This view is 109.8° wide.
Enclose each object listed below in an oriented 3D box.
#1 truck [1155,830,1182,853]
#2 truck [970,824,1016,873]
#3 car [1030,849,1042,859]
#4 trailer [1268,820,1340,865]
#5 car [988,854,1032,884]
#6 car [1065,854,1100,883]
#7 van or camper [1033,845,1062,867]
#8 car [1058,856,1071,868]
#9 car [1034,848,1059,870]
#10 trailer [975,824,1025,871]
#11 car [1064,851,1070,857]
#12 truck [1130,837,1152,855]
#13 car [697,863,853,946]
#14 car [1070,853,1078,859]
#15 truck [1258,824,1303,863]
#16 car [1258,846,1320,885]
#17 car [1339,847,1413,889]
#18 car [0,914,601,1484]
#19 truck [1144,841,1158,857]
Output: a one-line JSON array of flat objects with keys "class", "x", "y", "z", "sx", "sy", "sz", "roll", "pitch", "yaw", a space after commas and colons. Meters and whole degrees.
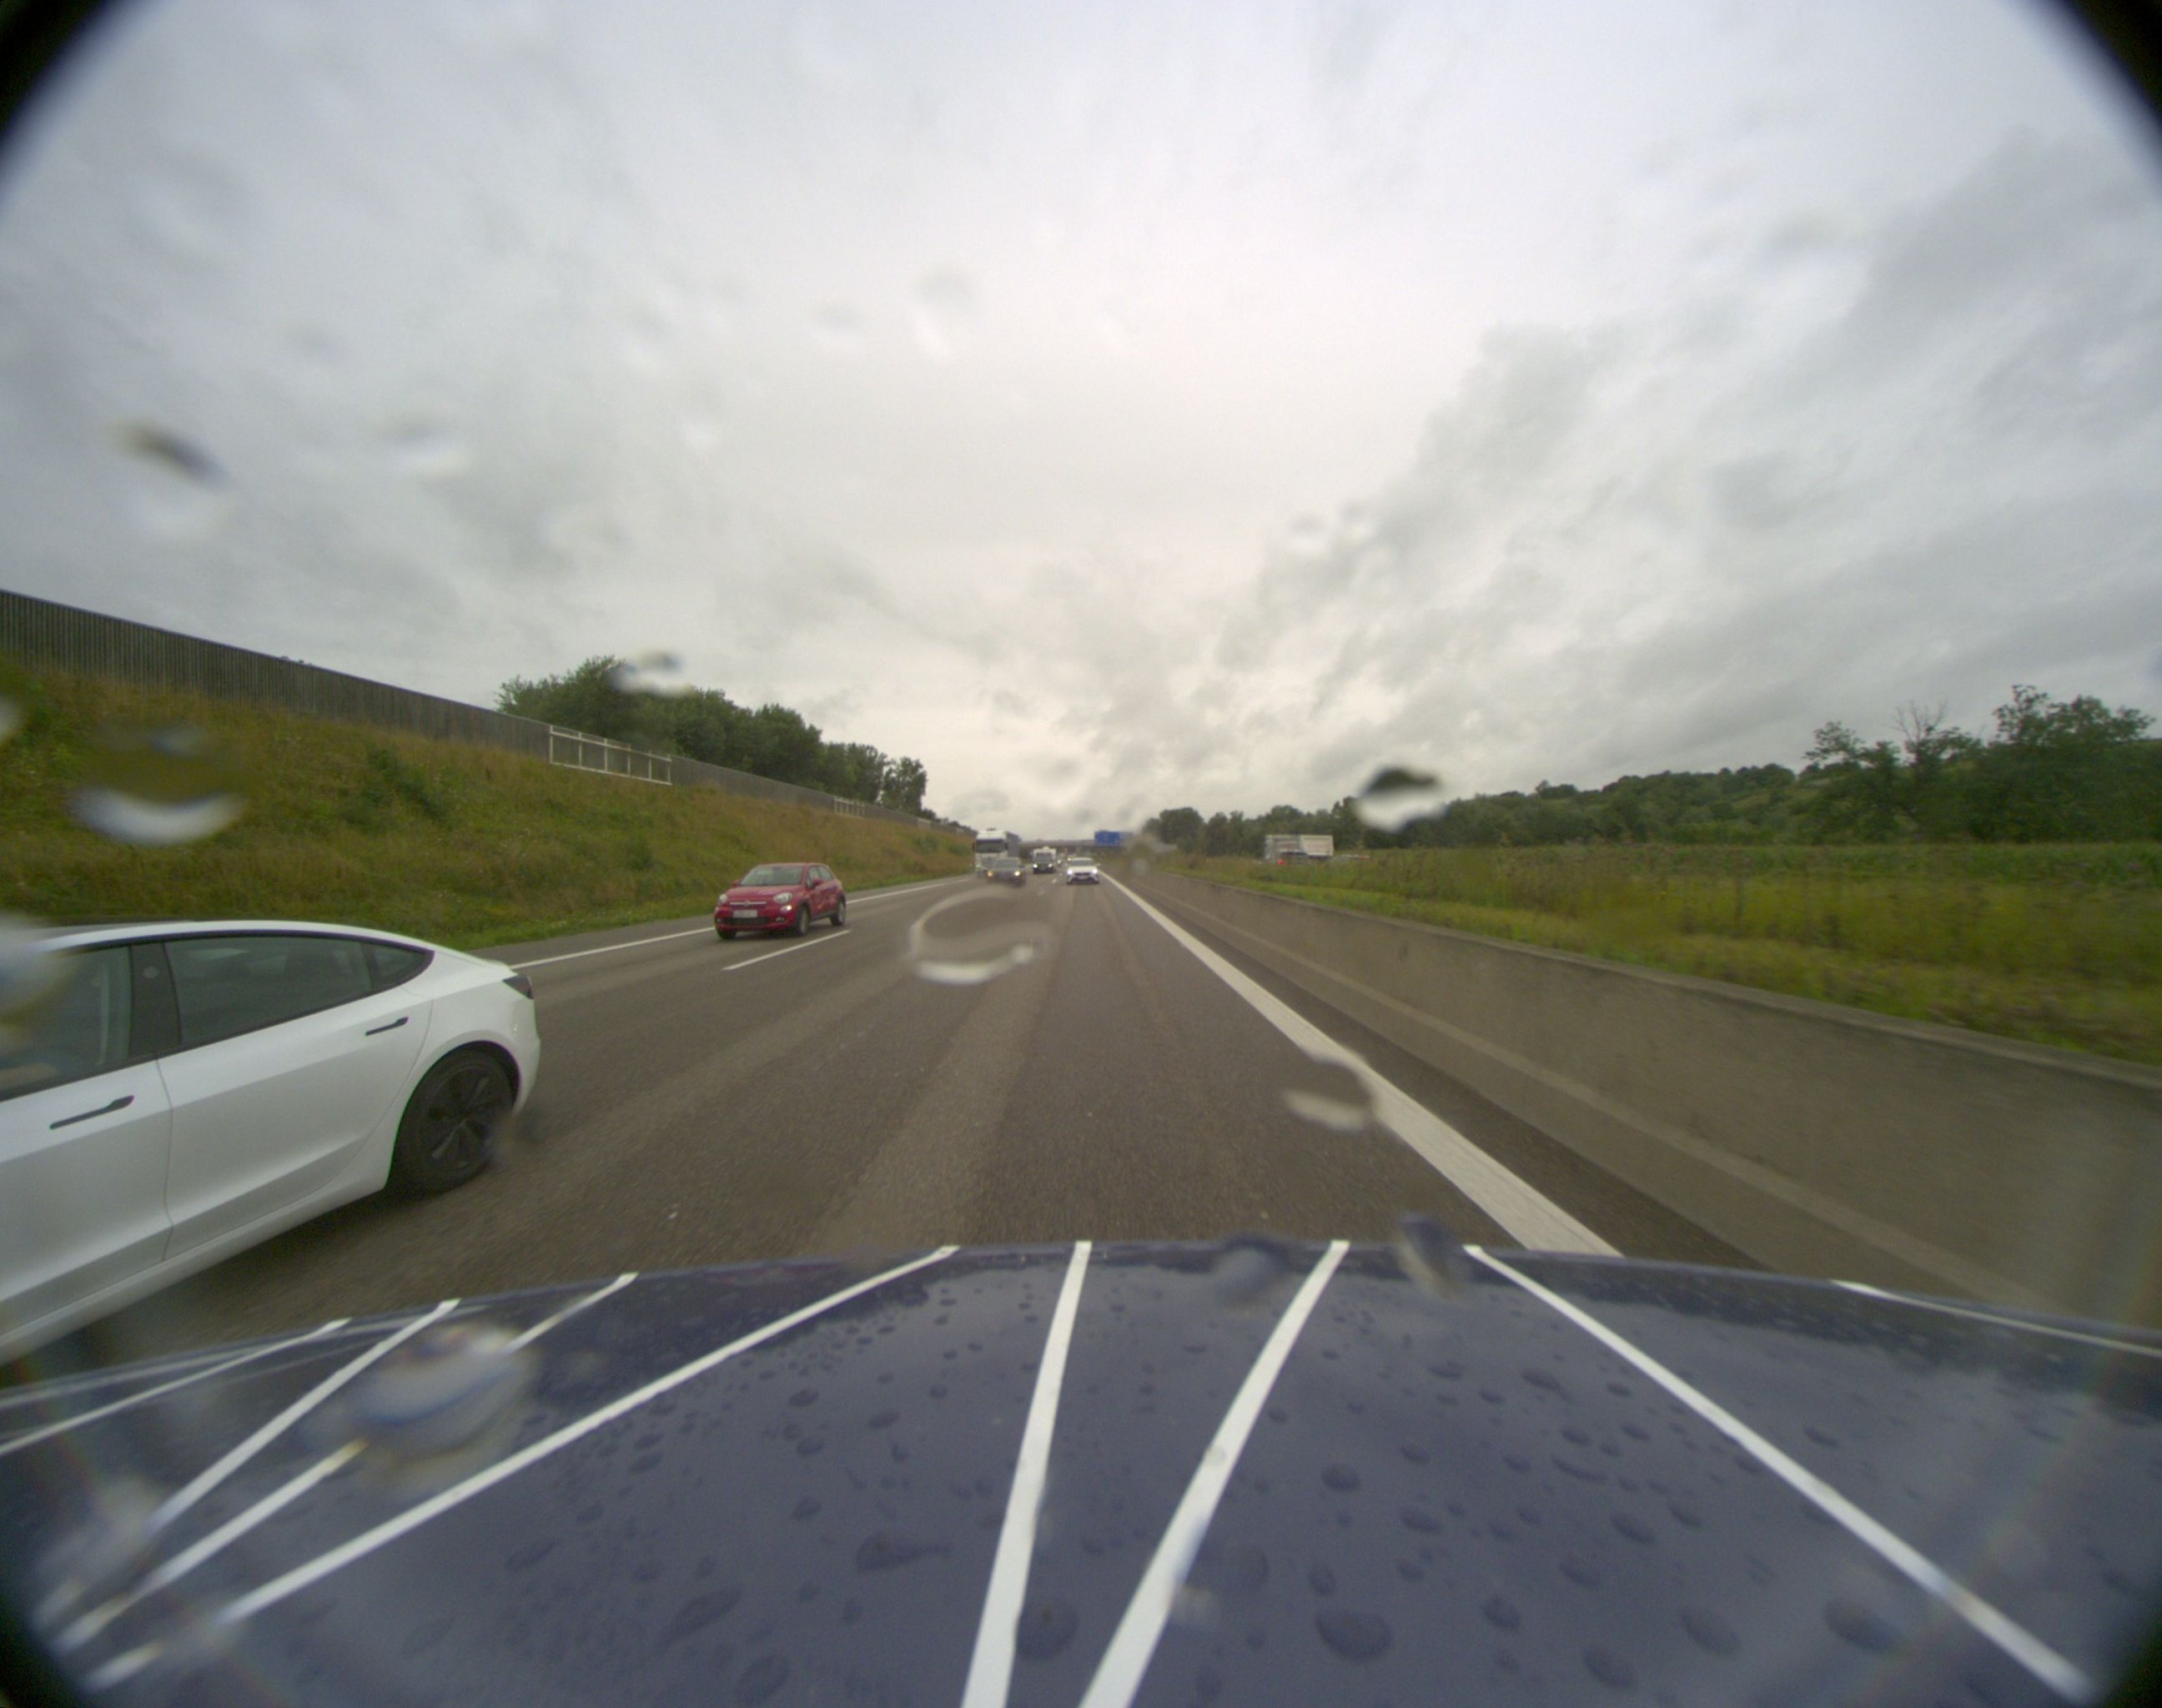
[{"class": "truck", "x": 17.644, "y": -2.548, "z": 153.846, "sx": 3.333, "sy": 4.317, "sz": 16.898, "roll": -2, "pitch": 1, "yaw": 0}, {"class": "truck", "x": -7.623, "y": -0.518, "z": 66.815, "sx": 3.089, "sy": 4.003, "sz": 6.955, "roll": -2, "pitch": 1, "yaw": 0}, {"class": "car", "x": -9.274, "y": 0.082, "z": 156.905, "sx": 1.998, "sy": 2.002, "sz": 4.262, "roll": -1, "pitch": 0, "yaw": 0}, {"class": "trailer", "x": 17.926, "y": -0.898, "z": 61.853, "sx": 2.794, "sy": 3.309, "sz": 9.925, "roll": -2, "pitch": 1, "yaw": 0}, {"class": "car", "x": -3.926, "y": 0.800, "z": 42.463, "sx": 1.929, "sy": 1.480, "sz": 4.485, "roll": -2, "pitch": 1, "yaw": 1}, {"class": "car", "x": 0.127, "y": 0.795, "z": 43.578, "sx": 1.840, "sy": 1.455, "sz": 4.000, "roll": -2, "pitch": 1, "yaw": 1}, {"class": "van or camper", "x": -3.464, "y": 0.137, "z": 79.748, "sx": 2.432, "sy": 2.139, "sz": 6.498, "roll": -2, "pitch": 1, "yaw": 2}, {"class": "car", "x": -2.630, "y": 1.240, "z": 120.695, "sx": 1.998, "sy": 1.759, "sz": 4.000, "roll": 0, "pitch": 0, "yaw": 1}, {"class": "car", "x": -3.371, "y": 0.450, "z": 74.773, "sx": 1.998, "sy": 2.002, "sz": 4.938, "roll": -2, "pitch": 1, "yaw": 2}, {"class": "trailer", "x": -7.635, "y": -0.619, "z": 74.133, "sx": 3.089, "sy": 4.003, "sz": 15.220, "roll": -2, "pitch": 1, "yaw": 0}, {"class": "car", "x": -4.898, "y": 0.001, "z": 259.259, "sx": 1.999, "sy": 1.850, "sz": 3.999, "roll": -1, "pitch": 0, "yaw": -2}, {"class": "truck", "x": 13.659, "y": -1.818, "z": 174.242, "sx": 3.609, "sy": 3.858, "sz": 16.108, "roll": -2, "pitch": 1, "yaw": 0}, {"class": "car", "x": -6.762, "y": 1.040, "z": 17.295, "sx": 1.878, "sy": 1.526, "sz": 3.999, "roll": -2, "pitch": 1, "yaw": 0}, {"class": "car", "x": -1.870, "y": 0.494, "z": 207.796, "sx": 1.999, "sy": 1.696, "sz": 4.483, "roll": -2, "pitch": 0, "yaw": -2}, {"class": "truck", "x": 17.899, "y": -0.954, "z": 68.476, "sx": 2.763, "sy": 3.324, "sz": 4.520, "roll": -2, "pitch": 1, "yaw": 0}, {"class": "car", "x": 9.845, "y": 0.517, "z": 36.302, "sx": 1.887, "sy": 1.674, "sz": 4.000, "roll": -2, "pitch": 0, "yaw": 1}, {"class": "car", "x": 13.919, "y": 0.625, "z": 36.104, "sx": 1.998, "sy": 1.838, "sz": 4.000, "roll": -1, "pitch": 0, "yaw": 1}, {"class": "car", "x": -3.966, "y": 1.106, "z": 2.298, "sx": 1.878, "sy": 1.355, "sz": 4.812, "roll": -2, "pitch": 1, "yaw": 1}, {"class": "truck", "x": 17.943, "y": -1.288, "z": 195.353, "sx": 2.455, "sy": 3.951, "sz": 8.767, "roll": -1, "pitch": 0, "yaw": -2}]
